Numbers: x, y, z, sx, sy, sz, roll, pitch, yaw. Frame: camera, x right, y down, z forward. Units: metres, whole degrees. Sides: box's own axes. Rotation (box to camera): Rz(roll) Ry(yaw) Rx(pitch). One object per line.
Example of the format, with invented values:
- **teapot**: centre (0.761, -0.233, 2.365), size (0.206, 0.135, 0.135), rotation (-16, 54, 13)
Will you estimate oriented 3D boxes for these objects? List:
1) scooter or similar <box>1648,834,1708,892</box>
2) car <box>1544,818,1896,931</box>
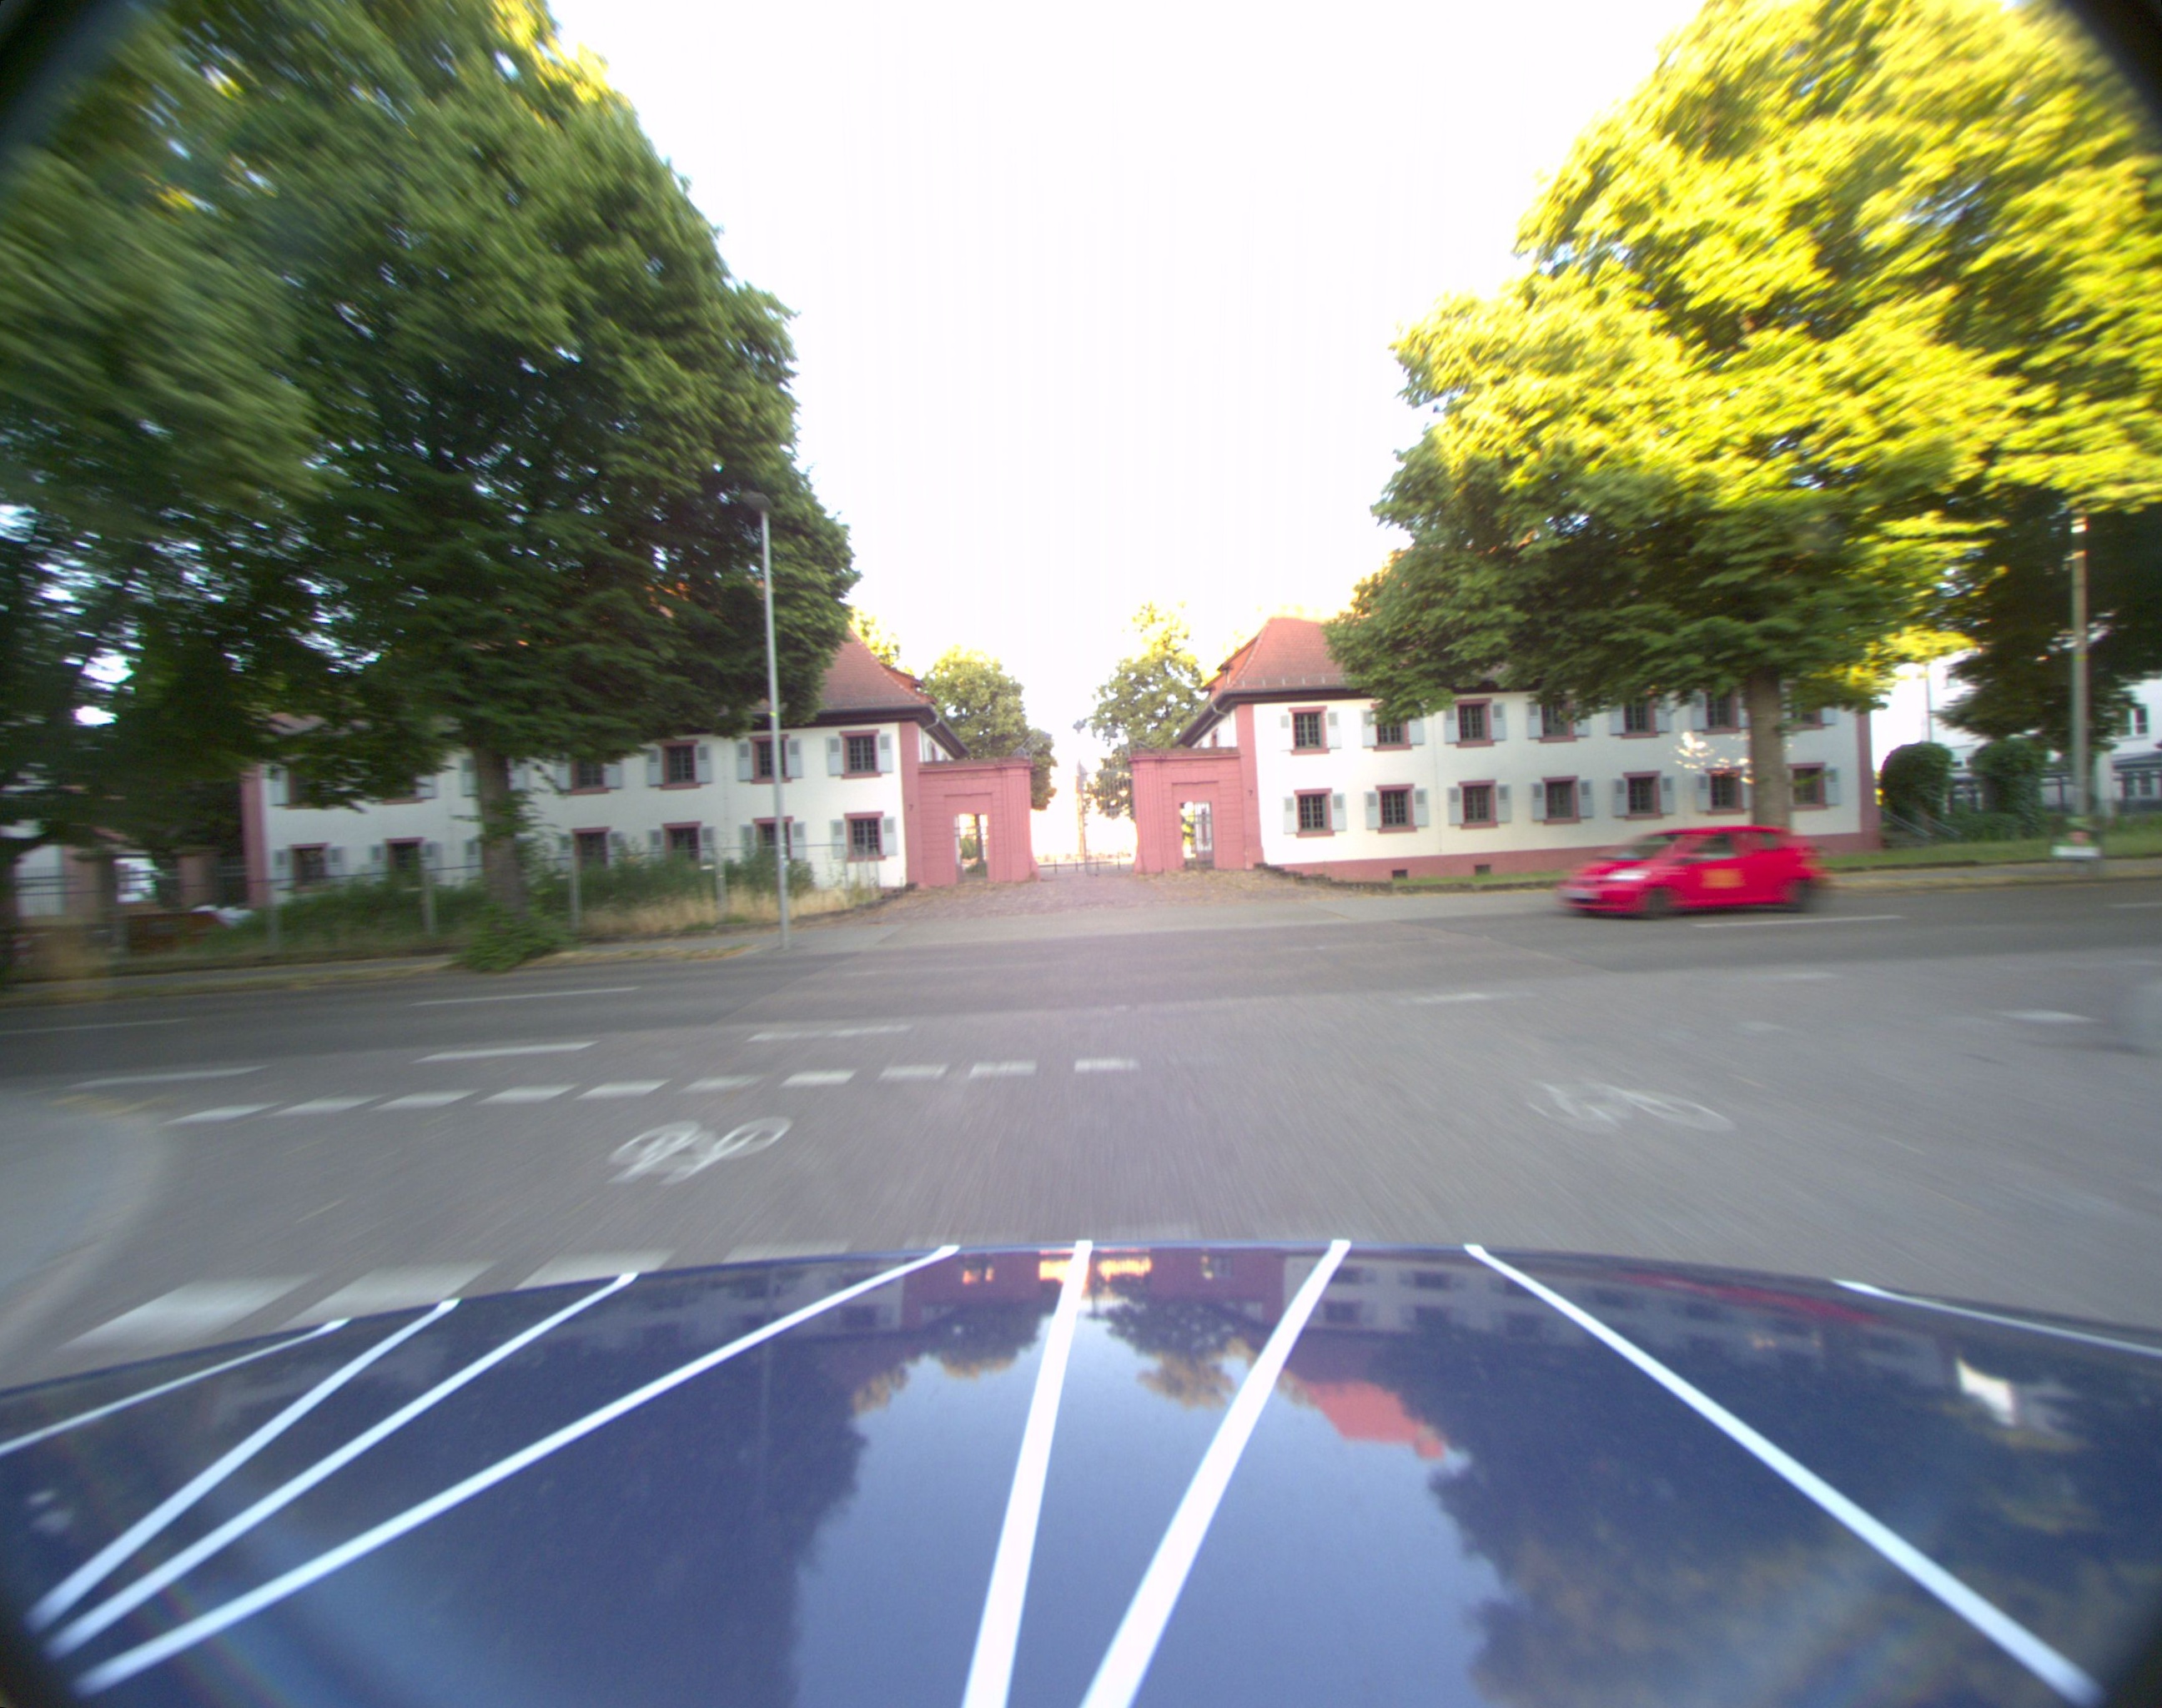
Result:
- **scooter or similar**: centre (13.961, 0.205, 17.771), size (1.266, 1.268, 0.240), rotation (-4, 1, -6)
- **car**: centre (10.248, 0.320, 12.383), size (4.408, 1.404, 1.620), rotation (-4, -1, -3)
